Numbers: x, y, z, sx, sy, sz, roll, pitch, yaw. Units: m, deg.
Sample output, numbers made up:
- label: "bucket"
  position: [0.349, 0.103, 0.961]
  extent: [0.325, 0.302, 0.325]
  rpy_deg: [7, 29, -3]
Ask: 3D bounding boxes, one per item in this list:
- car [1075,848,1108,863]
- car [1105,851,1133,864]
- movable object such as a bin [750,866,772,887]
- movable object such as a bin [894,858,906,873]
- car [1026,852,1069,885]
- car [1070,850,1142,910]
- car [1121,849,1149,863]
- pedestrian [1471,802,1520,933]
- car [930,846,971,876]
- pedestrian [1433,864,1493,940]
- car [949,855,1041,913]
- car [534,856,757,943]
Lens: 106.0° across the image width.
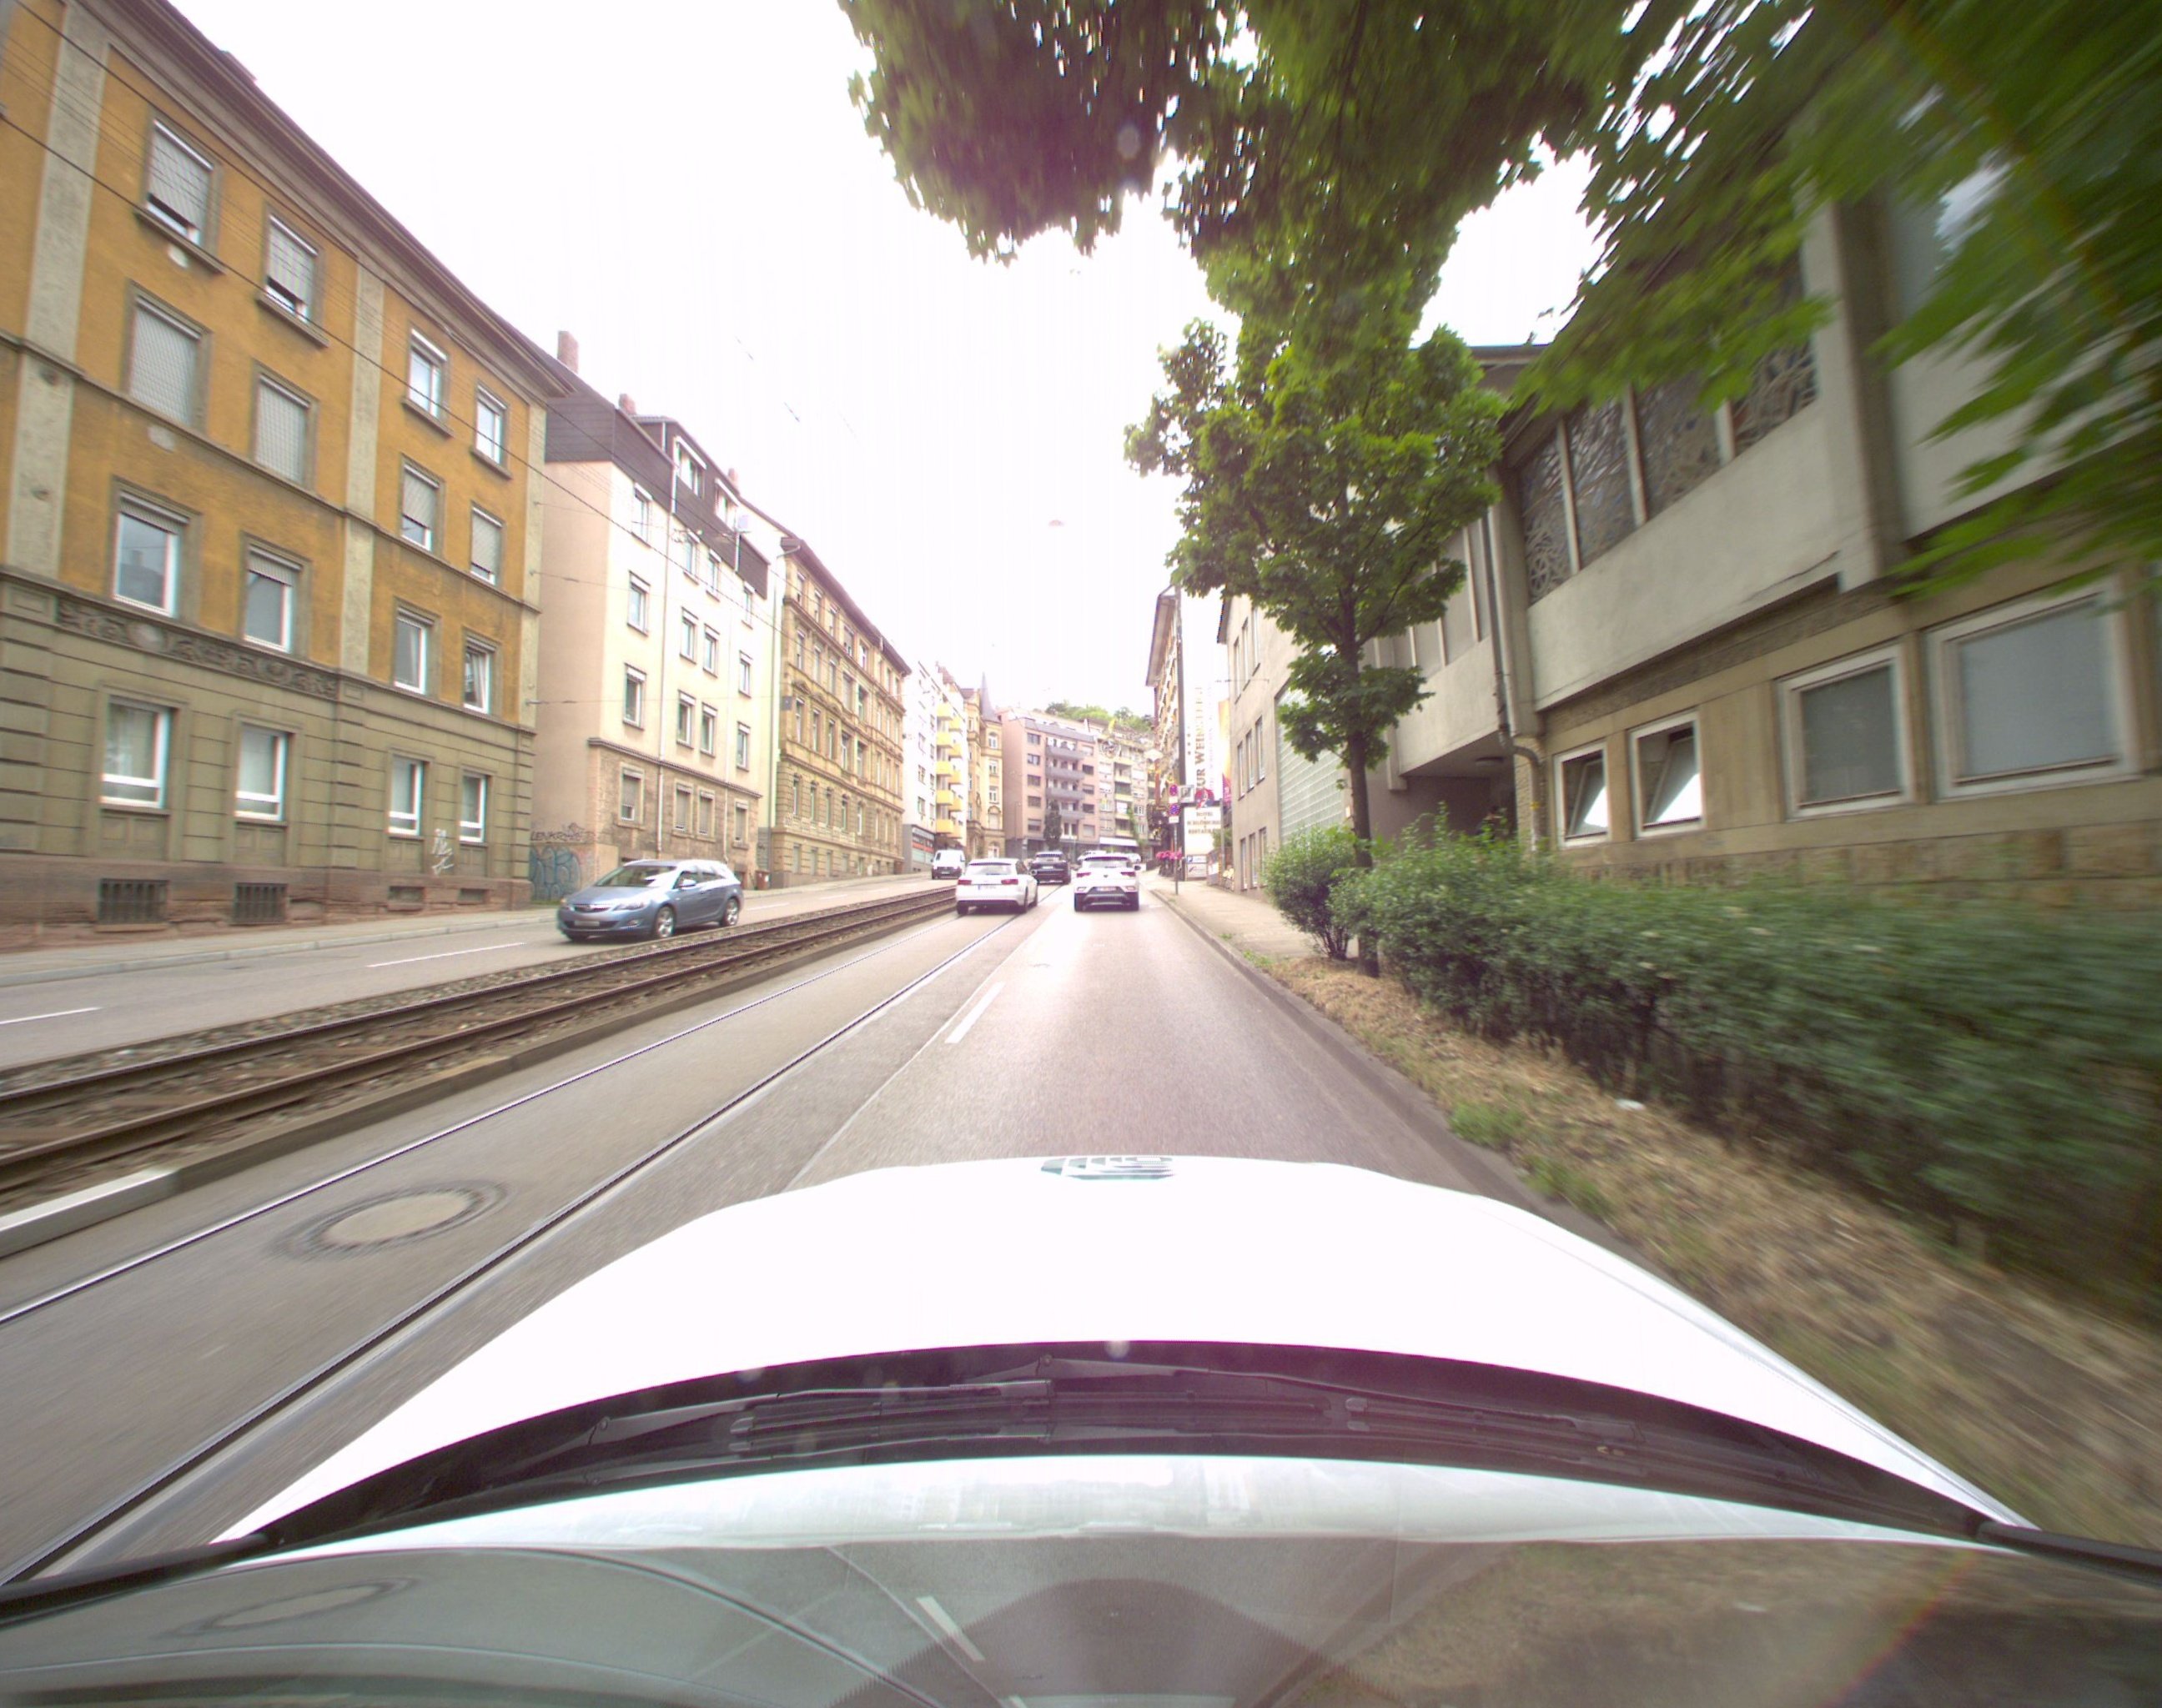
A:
- label: "car"
  position: [1.444, 0.166, 111.149]
  extent: [1.974, 2.035, 4.731]
  rpy_deg: [0, 0, 40]
- label: "car"
  position: [5.136, 0.455, 110.008]
  extent: [1.776, 1.728, 4.025]
  rpy_deg: [0, 0, 37]
- label: "movable object such as a bin"
  position: [-14.249, 0.989, 36.285]
  extent: [0.626, 0.911, 0.677]
  rpy_deg: [3, 0, 2]
- label: "movable object such as a bin"
  position: [-13.146, 0.803, 59.165]
  extent: [0.767, 1.074, 0.561]
  rpy_deg: [0, 0, 2]
- label: "car"
  position: [-1.647, 0.682, 41.705]
  extent: [2.031, 1.571, 4.357]
  rpy_deg: [-1, 0, 0]
- label: "car"
  position: [0.763, 0.675, 23.370]
  extent: [1.871, 1.554, 4.003]
  rpy_deg: [0, 0, 3]
- label: "car"
  position: [7.798, 0.313, 117.706]
  extent: [1.885, 1.922, 4.463]
  rpy_deg: [0, 0, 39]
- label: "pedestrian"
  position: [6.122, 0.194, 12.032]
  extent: [0.605, 1.875, 0.595]
  rpy_deg: [-1, 0, 29]
- label: "car"
  position: [-8.646, 0.455, 54.411]
  extent: [1.952, 1.900, 5.315]
  rpy_deg: [0, 0, -2]
- label: "pedestrian"
  position: [5.053, 0.628, 10.805]
  extent: [0.523, 0.965, 0.608]
  rpy_deg: [0, 0, 2]
- label: "car"
  position: [-2.281, 0.761, 22.870]
  extent: [1.871, 1.455, 4.620]
  rpy_deg: [0, 0, 2]
- label: "car"
  position: [-8.455, 0.799, 16.392]
  extent: [1.836, 1.455, 4.663]
  rpy_deg: [0, 0, 2]
